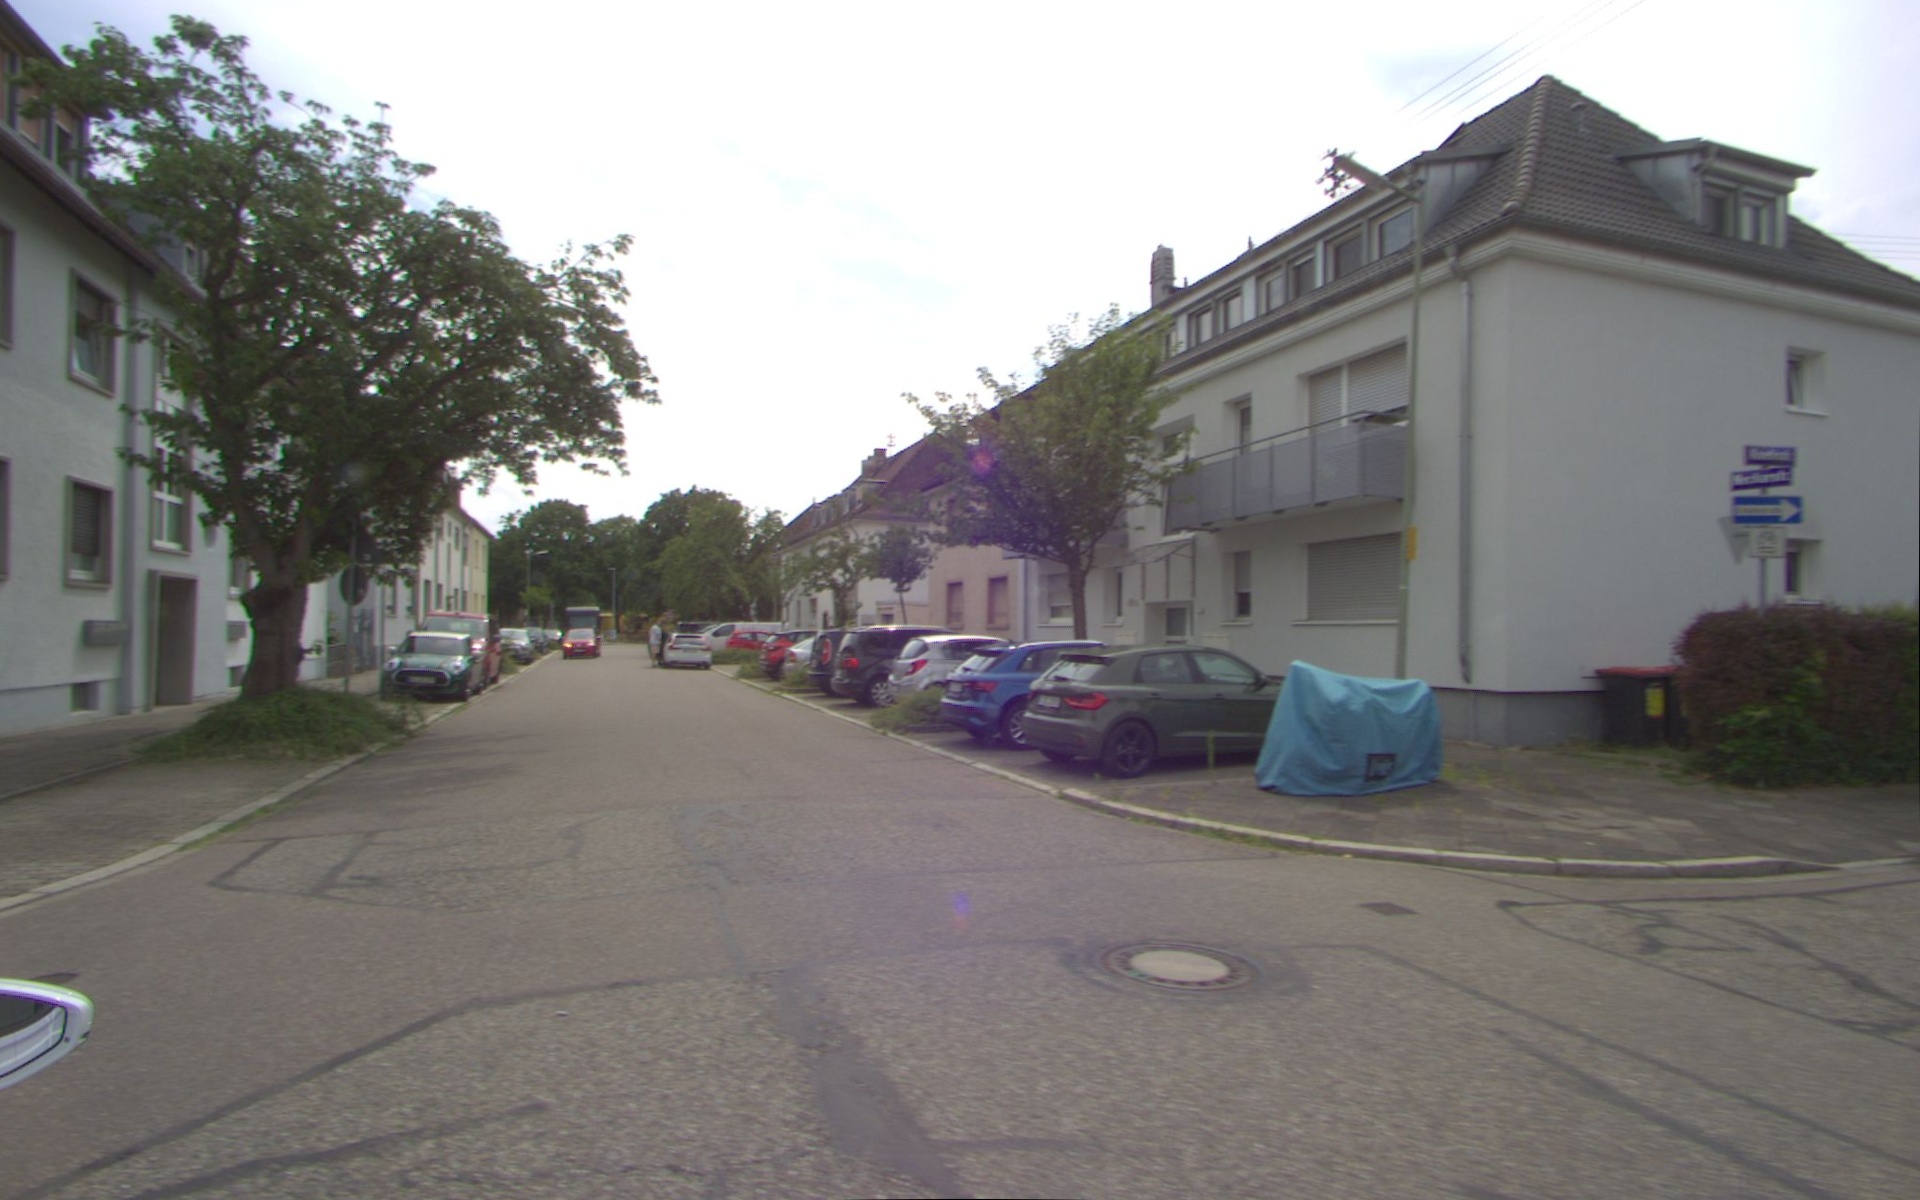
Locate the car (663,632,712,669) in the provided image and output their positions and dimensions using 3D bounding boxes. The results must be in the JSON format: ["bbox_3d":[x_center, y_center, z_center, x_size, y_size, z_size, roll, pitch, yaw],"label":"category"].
[{"bbox_3d":[-11.163,2.034,40.866,1.663,1.371,3.819,-1,-1,-19],"label":"car"}]

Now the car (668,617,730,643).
[{"bbox_3d":[-15.679,1.790,60.175,3.480,1.444,1.595,-1,-1,-19],"label":"car"}]

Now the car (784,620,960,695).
[{"bbox_3d":[-2.163,1.349,24.359,3.931,1.639,1.863,-1,-1,-19],"label":"car"}]

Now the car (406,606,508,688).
[{"bbox_3d":[-13.671,1.248,27.471,1.966,2.039,4.510,1,-2,-20],"label":"car"}]

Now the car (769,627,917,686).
[{"bbox_3d":[-3.362,1.589,28.736,3.932,1.538,1.718,-1,-1,-20],"label":"car"}]

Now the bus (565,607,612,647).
[{"bbox_3d":[-28.109,2.021,76.059,2.961,2.797,8.908,-1,-1,-18],"label":"bus"}]

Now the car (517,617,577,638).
[{"bbox_3d":[-32.901,2.205,79.840,3.922,1.562,1.869,-1,-1,0],"label":"car"}]

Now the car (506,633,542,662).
[{"bbox_3d":[-21.228,2.270,48.808,1.518,1.318,3.711,-1,-1,-22],"label":"car"}]

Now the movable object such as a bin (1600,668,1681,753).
[{"bbox_3d":[8.729,1.404,12.858,0.512,1.021,0.698,1,-1,-22],"label":"movable object such as a bin"}]

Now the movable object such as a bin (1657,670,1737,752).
[{"bbox_3d":[9.740,1.448,13.243,0.512,1.021,0.698,1,-1,-22],"label":"movable object such as a bin"}]

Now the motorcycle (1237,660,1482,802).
[{"bbox_3d":[3.867,1.216,9.693,2.164,1.226,0.937,2,-1,-22],"label":"motorcycle"}]

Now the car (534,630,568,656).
[{"bbox_3d":[-23.350,2.451,57.218,1.628,1.395,3.713,-1,-1,-20],"label":"car"}]

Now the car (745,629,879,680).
[{"bbox_3d":[-4.720,1.690,31.845,3.932,1.457,1.718,-1,-1,-20],"label":"car"}]

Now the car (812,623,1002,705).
[{"bbox_3d":[-1.160,1.309,21.375,3.695,1.585,1.769,-1,-1,-19],"label":"car"}]

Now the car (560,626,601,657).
[{"bbox_3d":[-19.426,2.091,51.341,1.838,1.505,3.991,-1,-1,-20],"label":"car"}]

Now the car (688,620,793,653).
[{"bbox_3d":[-10.921,1.797,49.808,4.908,1.538,1.764,-1,-1,-22],"label":"car"}]

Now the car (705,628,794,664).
[{"bbox_3d":[-9.986,2.156,47.524,3.932,1.538,1.718,-1,-1,-20],"label":"car"}]

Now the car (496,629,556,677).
[{"bbox_3d":[-14.532,1.736,33.667,1.628,1.480,3.544,-1,-1,-21],"label":"car"}]

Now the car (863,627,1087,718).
[{"bbox_3d":[0.267,1.324,19.184,3.932,1.538,1.718,-1,-1,-20],"label":"car"}]

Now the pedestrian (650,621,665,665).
[{"bbox_3d":[-11.838,1.673,39.168,0.514,1.726,0.444,-1,0,-17],"label":"pedestrian"}]

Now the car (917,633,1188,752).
[{"bbox_3d":[1.280,1.224,14.101,3.469,1.430,1.555,-1,-1,-20],"label":"car"}]

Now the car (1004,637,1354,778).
[{"bbox_3d":[2.567,1.180,11.936,3.695,1.383,1.769,-1,-1,-19],"label":"car"}]

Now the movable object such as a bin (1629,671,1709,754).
[{"bbox_3d":[9.246,1.447,13.070,0.512,1.021,0.698,1,-1,-22],"label":"movable object such as a bin"}]

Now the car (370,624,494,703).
[{"bbox_3d":[-11.667,1.350,22.373,1.738,1.574,3.725,-1,-1,-17],"label":"car"}]

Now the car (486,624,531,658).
[{"bbox_3d":[-19.781,1.792,43.963,1.629,1.395,3.711,-1,-1,-22],"label":"car"}]
